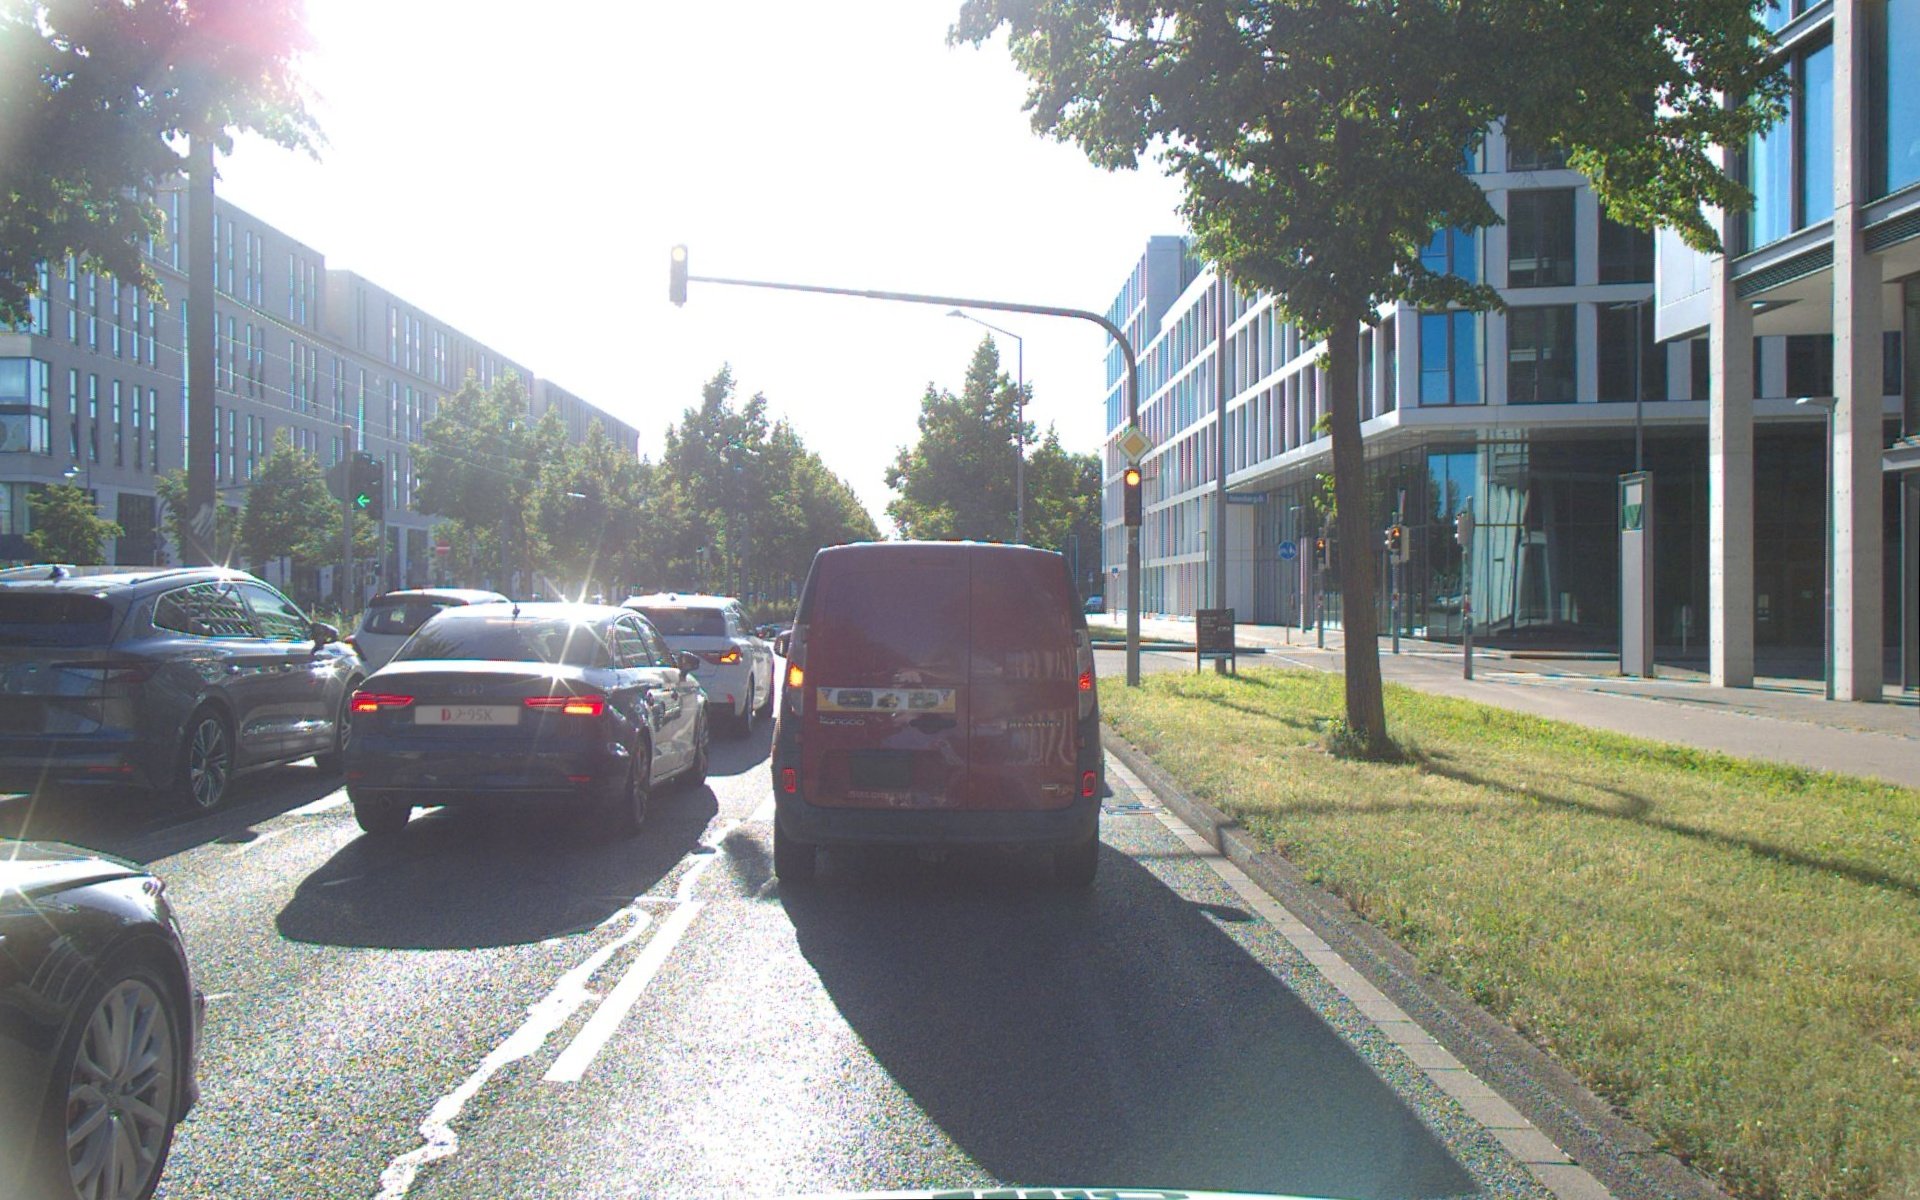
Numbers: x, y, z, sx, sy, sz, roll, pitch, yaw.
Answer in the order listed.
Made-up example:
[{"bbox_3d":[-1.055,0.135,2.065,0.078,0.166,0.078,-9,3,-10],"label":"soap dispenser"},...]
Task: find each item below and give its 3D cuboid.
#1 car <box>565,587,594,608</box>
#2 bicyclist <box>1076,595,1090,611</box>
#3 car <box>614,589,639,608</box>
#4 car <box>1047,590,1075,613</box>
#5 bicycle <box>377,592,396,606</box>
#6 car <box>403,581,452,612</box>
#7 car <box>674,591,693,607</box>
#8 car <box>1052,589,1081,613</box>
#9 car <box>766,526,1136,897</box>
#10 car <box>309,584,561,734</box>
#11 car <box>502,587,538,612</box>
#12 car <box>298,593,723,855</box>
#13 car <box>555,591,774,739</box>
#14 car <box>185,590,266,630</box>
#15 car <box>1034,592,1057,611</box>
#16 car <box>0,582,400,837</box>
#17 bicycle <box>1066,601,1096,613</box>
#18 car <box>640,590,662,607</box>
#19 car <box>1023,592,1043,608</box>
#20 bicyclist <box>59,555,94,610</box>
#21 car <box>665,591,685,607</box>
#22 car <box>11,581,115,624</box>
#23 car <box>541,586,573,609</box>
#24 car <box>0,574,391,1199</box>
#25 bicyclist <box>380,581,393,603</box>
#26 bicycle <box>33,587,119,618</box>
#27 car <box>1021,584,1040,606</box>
[{"bbox_3d":[-36.450,-0.250,158.602,1.953,2.049,3.999,0,0,-1],"label":"car"},{"bbox_3d":[11.005,0.250,148.251,0.966,1.462,0.948,0,0,33],"label":"bicyclist"},{"bbox_3d":[-36.791,-0.210,182.582,1.953,2.049,3.999,0,0,-1],"label":"car"},{"bbox_3d":[8.147,0.087,133.780,1.953,1.813,3.999,0,0,-1],"label":"car"},{"bbox_3d":[-40.728,-0.099,117.455,0.663,1.005,1.956,0,0,-1],"label":"bicycle"},{"bbox_3d":[-35.337,-0.232,109.838,1.953,2.049,3.999,0,0,-1],"label":"car"},{"bbox_3d":[-37.250,-0.138,223.030,1.953,2.049,3.999,0,0,-1],"label":"car"},{"bbox_3d":[8.273,0.082,128.692,1.953,1.813,3.999,0,0,-1],"label":"car"},{"bbox_3d":[-0.072,0.534,10.083,1.804,1.812,3.999,0,0,-1],"label":"car"},{"bbox_3d":[-6.160,0.624,19.969,1.764,1.509,4.565,3,0,-4],"label":"car"},{"bbox_3d":[-36.305,-0.070,136.674,1.953,2.049,3.999,0,0,-1],"label":"car"},{"bbox_3d":[-2.825,0.687,11.428,1.804,1.451,4.338,0,0,-1],"label":"car"},{"bbox_3d":[-3.127,0.632,18.216,1.767,1.451,3.900,0,0,-1],"label":"car"},{"bbox_3d":[-34.787,0.462,78.501,1.953,1.845,4.369,0,0,-1],"label":"car"},{"bbox_3d":[8.356,0.157,161.483,1.953,1.813,3.999,0,0,-1],"label":"car"},{"bbox_3d":[-5.622,0.635,11.855,1.763,1.473,4.567,0,0,-2],"label":"car"},{"bbox_3d":[10.881,0.627,148.348,2.590,1.125,0.948,0,0,34],"label":"bicycle"},{"bbox_3d":[-37.293,-0.192,199.388,1.953,2.049,3.999,0,0,-1],"label":"car"},{"bbox_3d":[7.995,-0.016,180.678,1.953,1.813,3.999,0,0,-1],"label":"car"},{"bbox_3d":[-34.493,-0.670,64.566,0.921,2.129,0.817,0,0,-2],"label":"bicyclist"},{"bbox_3d":[-37.437,-0.158,217.403,1.953,2.049,3.999,0,0,-1],"label":"car"},{"bbox_3d":[-33.236,0.059,61.382,1.729,1.546,3.999,0,0,-1],"label":"car"},{"bbox_3d":[-36.430,-0.270,149.501,1.953,2.049,3.999,0,0,-1],"label":"car"},{"bbox_3d":[-2.680,0.710,2.845,1.836,1.510,4.965,0,0,-2],"label":"car"},{"bbox_3d":[-40.728,-0.582,117.430,0.663,1.556,0.714,0,0,-1],"label":"bicyclist"},{"bbox_3d":[-34.485,0.098,64.554,2.882,1.211,0.817,0,0,-2],"label":"bicycle"},{"bbox_3d":[8.502,-0.607,199.205,1.953,2.540,4.986,0,0,-1],"label":"car"}]
